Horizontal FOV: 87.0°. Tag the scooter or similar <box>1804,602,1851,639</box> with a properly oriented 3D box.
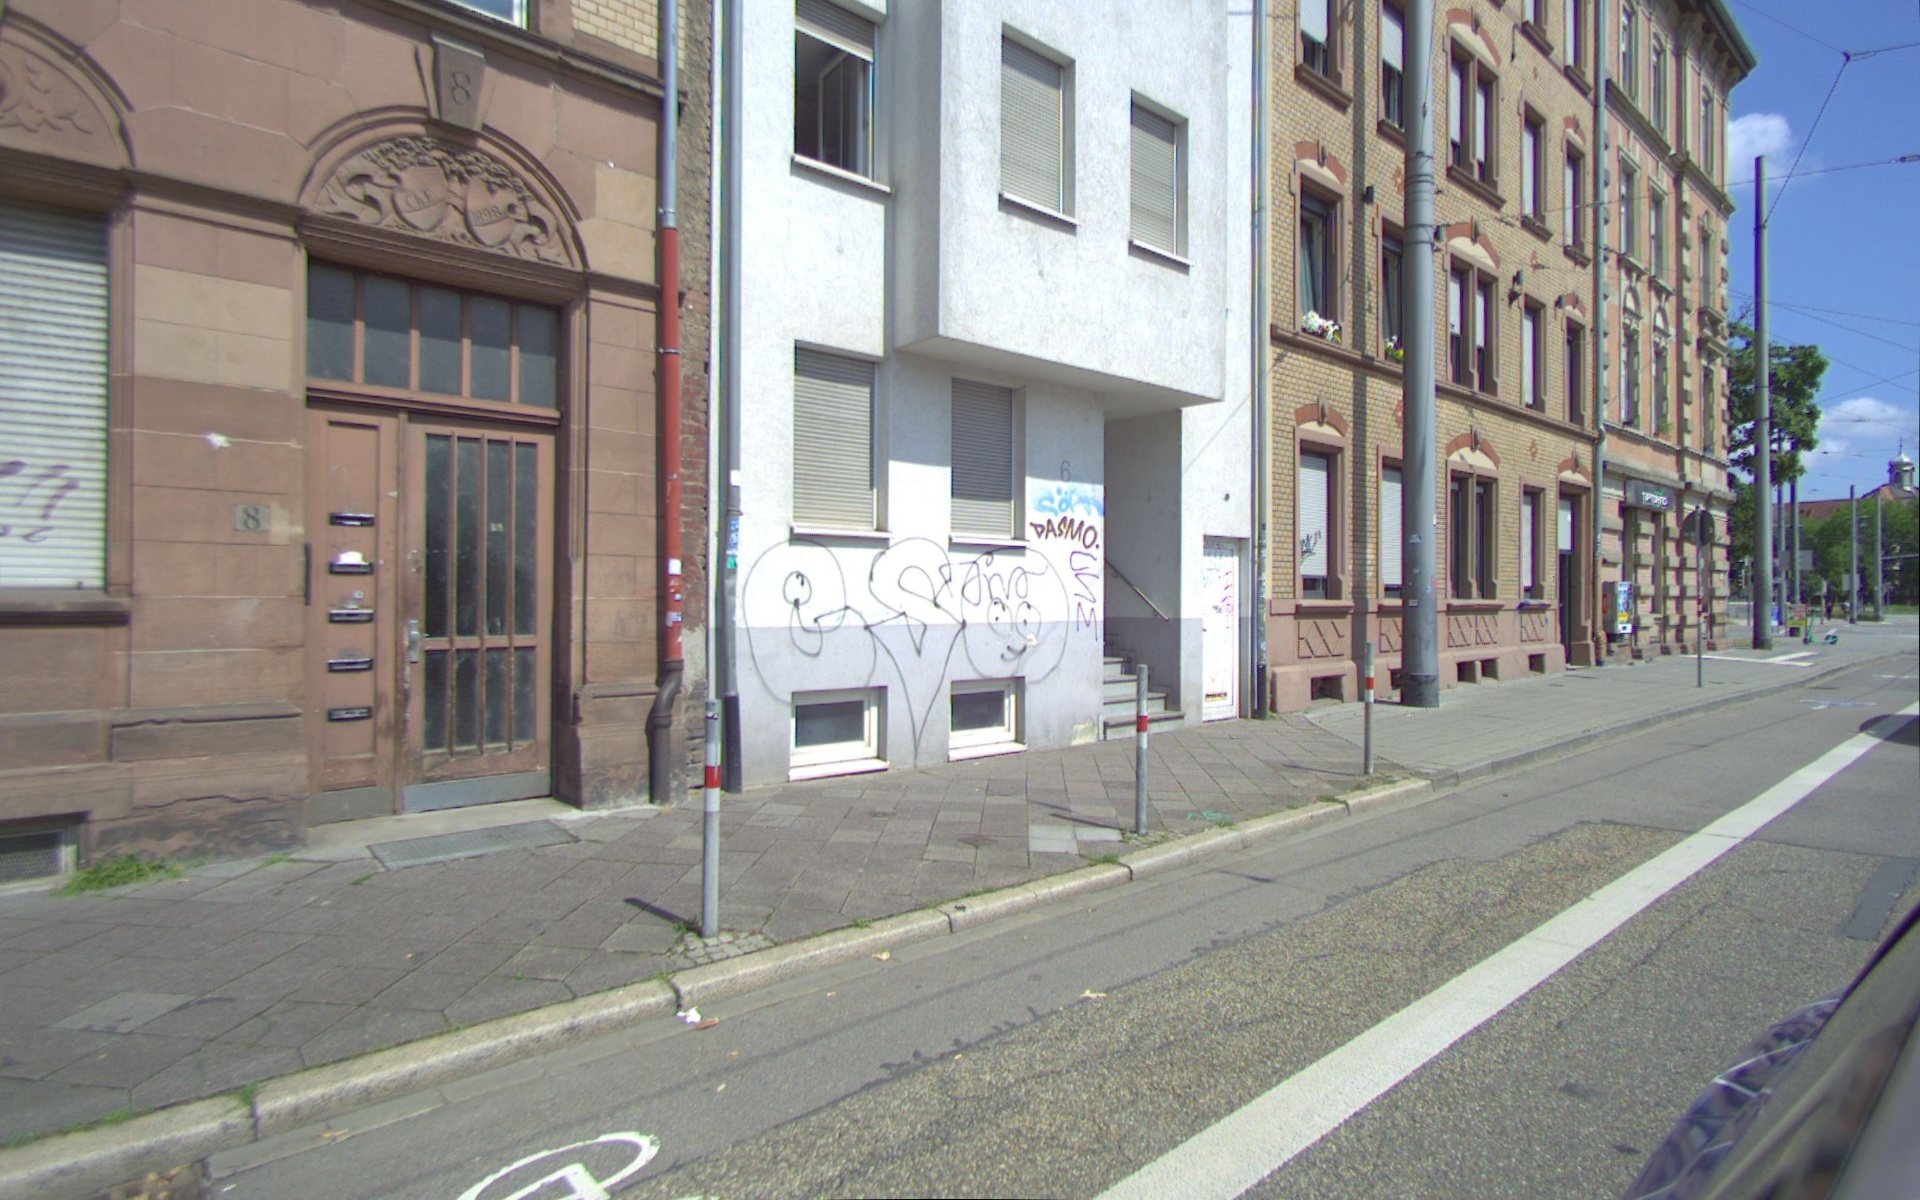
[{"bbox_3d":[28.807,0.669,33.596,1.065,1.194,0.951,0,1,-35],"label":"scooter or similar"}]
